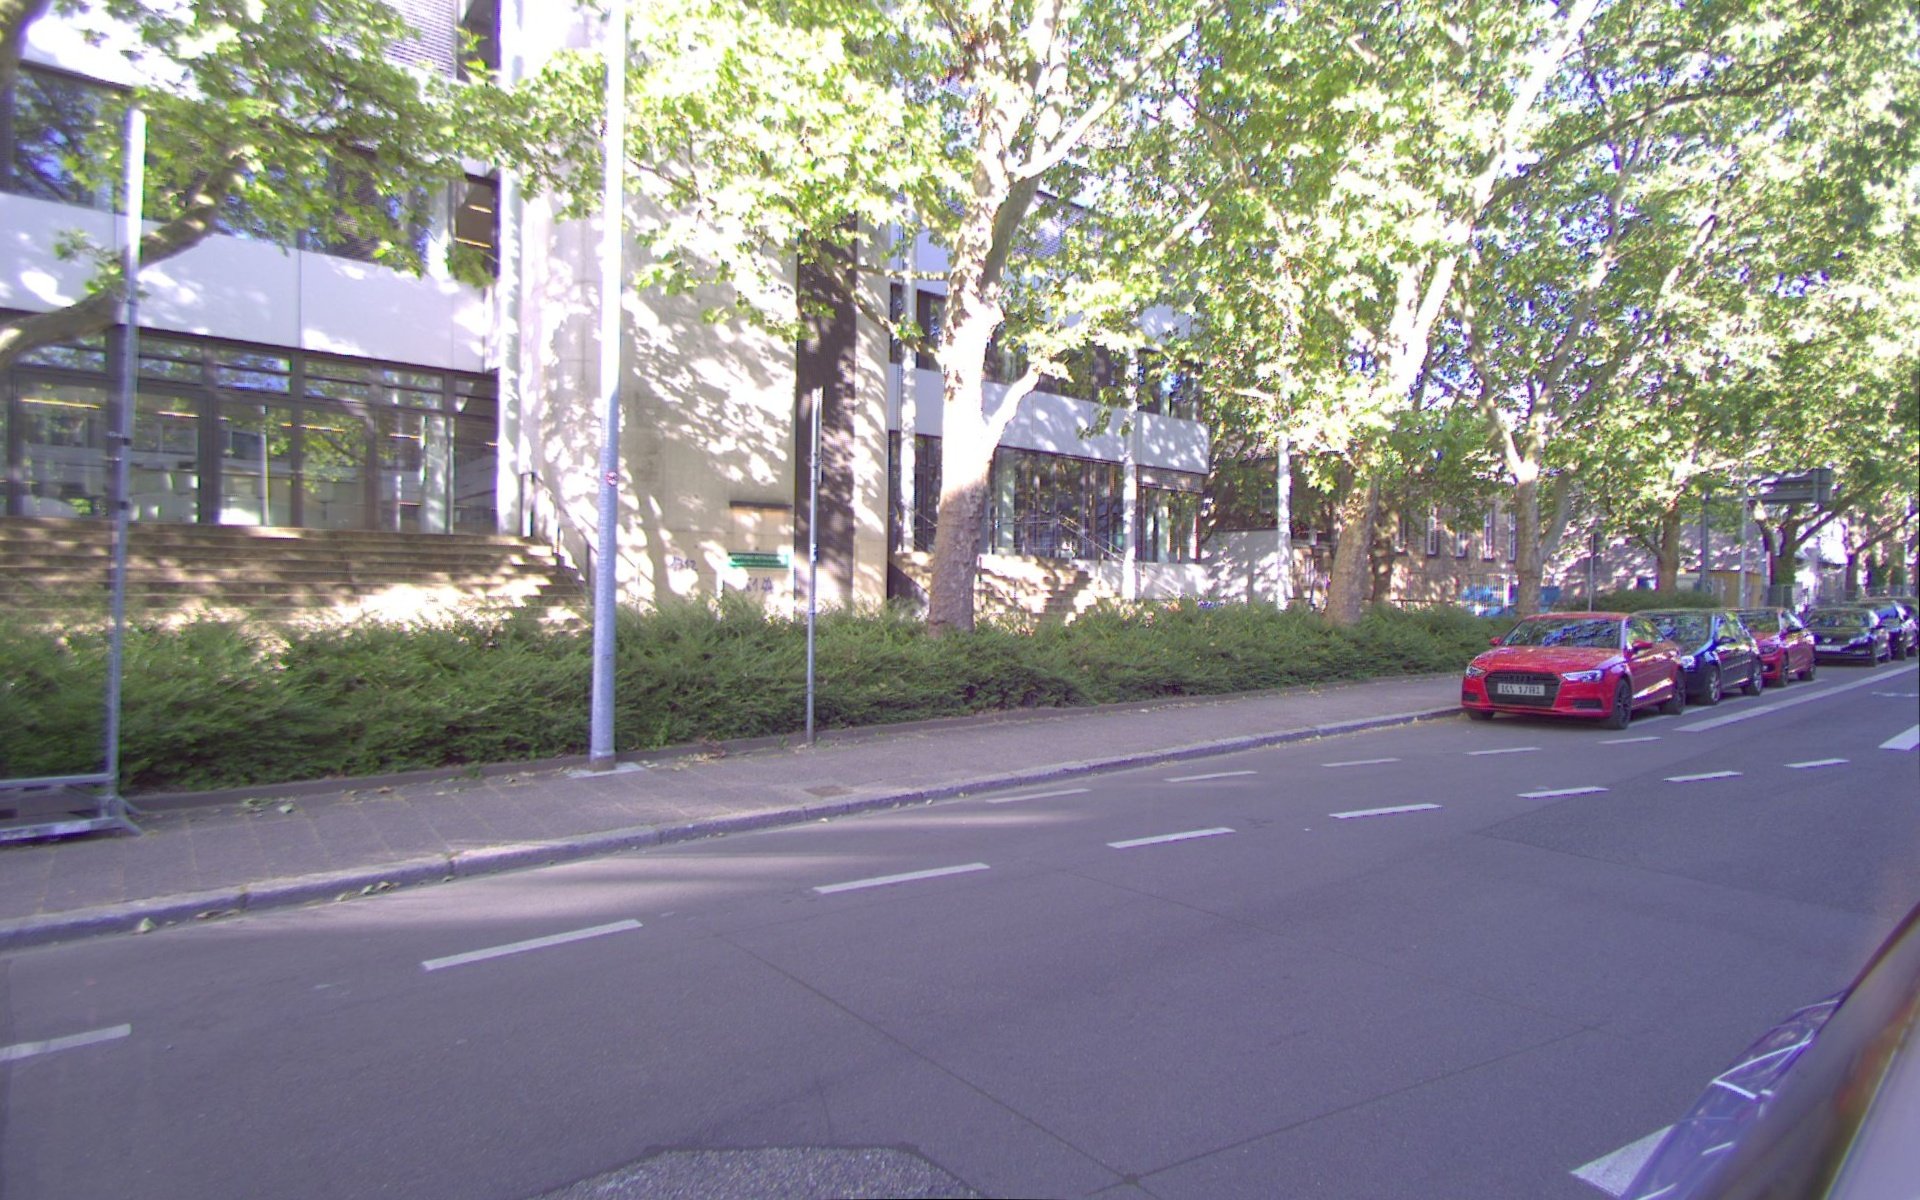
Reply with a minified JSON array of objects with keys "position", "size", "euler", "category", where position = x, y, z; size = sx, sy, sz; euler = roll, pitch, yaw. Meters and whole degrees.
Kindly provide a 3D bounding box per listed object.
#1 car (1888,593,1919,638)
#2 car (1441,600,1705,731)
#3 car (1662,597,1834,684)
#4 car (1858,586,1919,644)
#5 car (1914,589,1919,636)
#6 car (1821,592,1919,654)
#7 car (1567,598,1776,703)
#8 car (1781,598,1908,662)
[{"position":[36.029,0.531,37.463],"size":[4.070,1.585,1.997],"euler":[-1,1,-41],"category":"car"},{"position":[8.271,0.746,13.532],"size":[3.930,1.443,1.906],"euler":[-1,1,-41],"category":"car"},{"position":[15.663,0.711,20.063],"size":[3.762,1.517,1.997],"euler":[-1,1,-41],"category":"car"},{"position":[31.278,0.441,33.319],"size":[4.493,1.809,1.997],"euler":[-1,0,-41],"category":"car"},{"position":[39.621,0.476,40.286],"size":[3.930,1.872,1.997],"euler":[-1,0,-41],"category":"car"},{"position":[26.542,0.601,29.193],"size":[4.070,1.621,1.997],"euler":[-1,0,-41],"category":"car"},{"position":[11.688,0.724,16.568],"size":[3.581,1.478,1.997],"euler":[-1,1,-41],"category":"car"},{"position":[22.814,0.714,26.070],"size":[3.527,1.474,1.997],"euler":[-1,1,-41],"category":"car"}]
